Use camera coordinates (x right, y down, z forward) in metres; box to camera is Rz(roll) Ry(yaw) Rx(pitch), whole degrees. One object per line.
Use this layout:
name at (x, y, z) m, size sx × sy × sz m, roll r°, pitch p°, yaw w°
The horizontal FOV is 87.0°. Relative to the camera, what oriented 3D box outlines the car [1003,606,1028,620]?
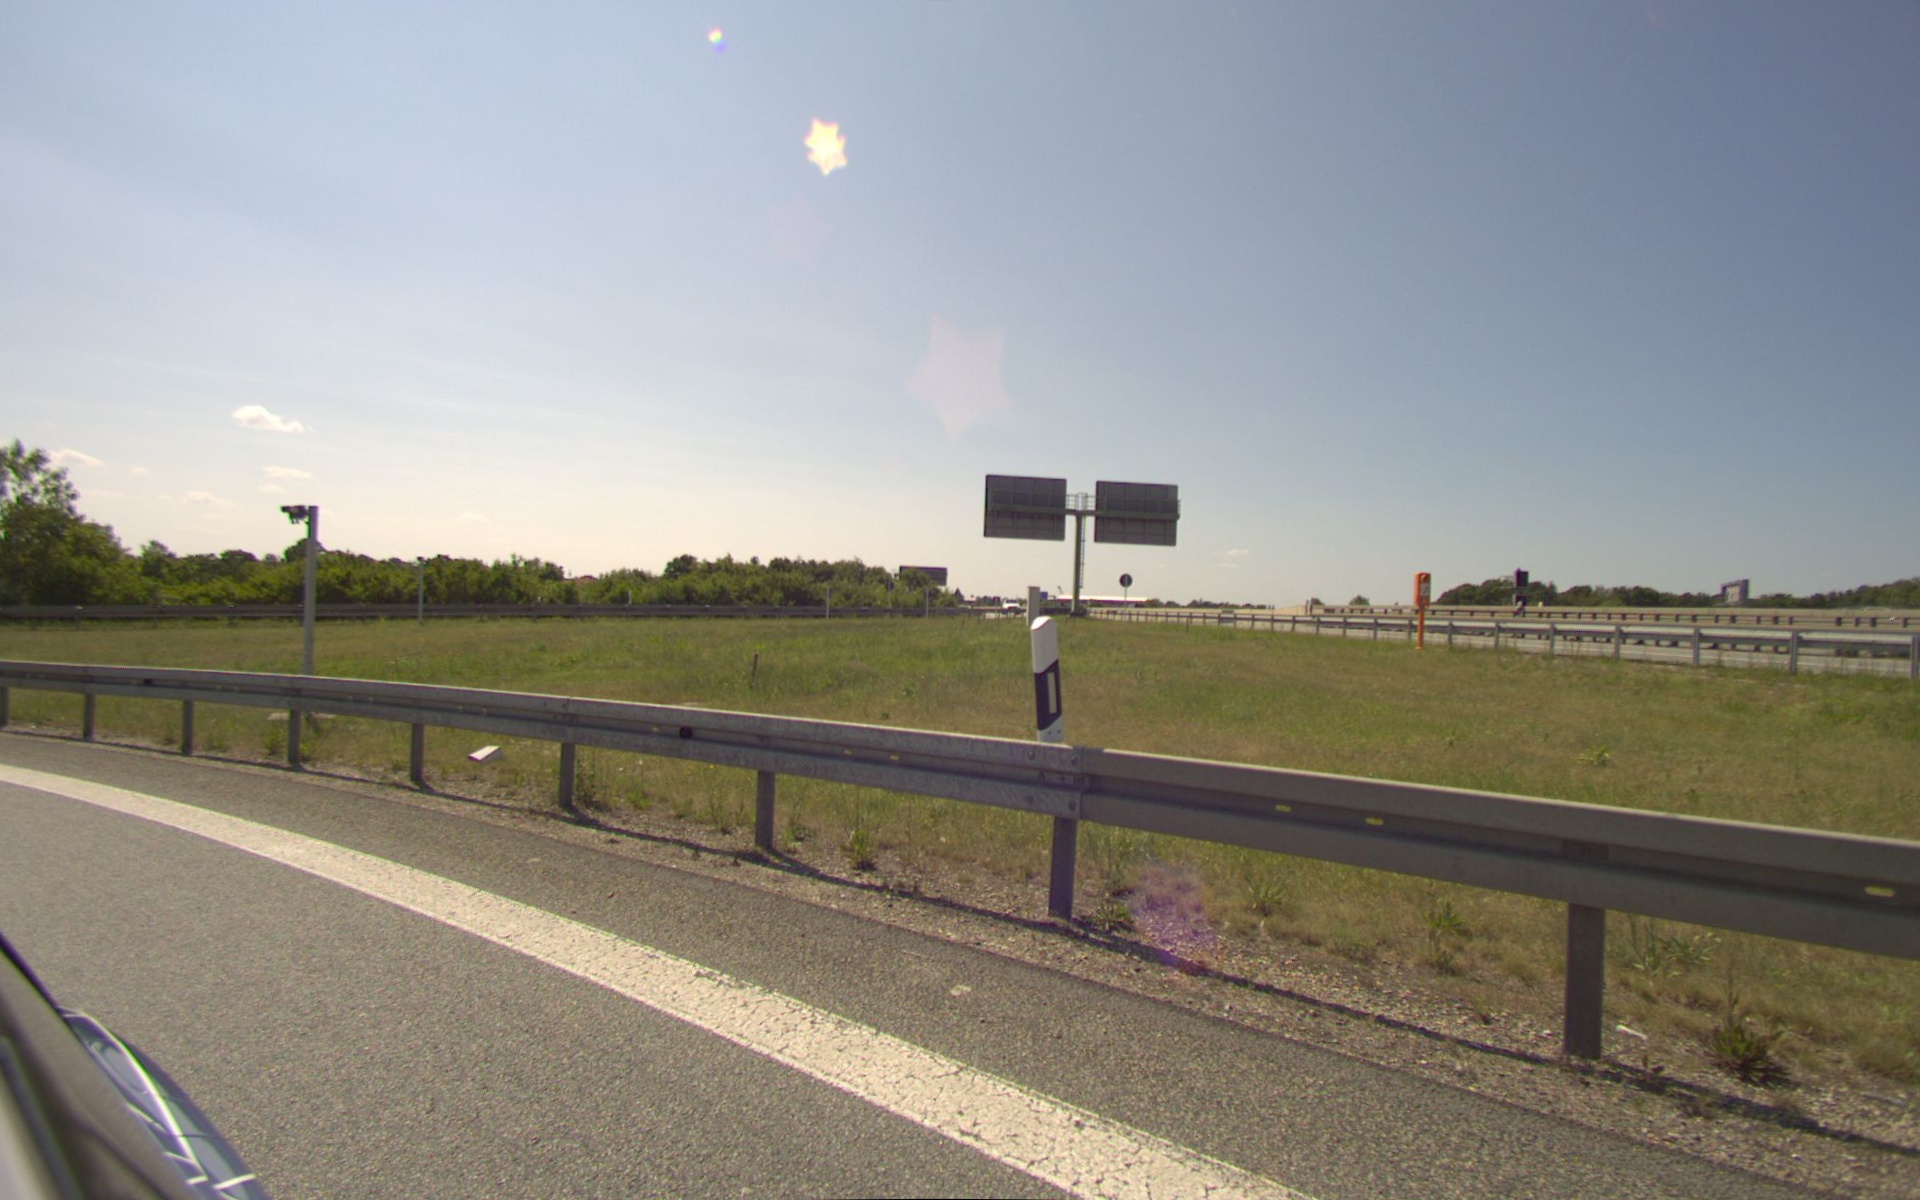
car at (6.267, 1.429, 114.025) m, size 1.981 × 1.519 × 4.280 m, roll -1°, pitch 0°, yaw 14°
